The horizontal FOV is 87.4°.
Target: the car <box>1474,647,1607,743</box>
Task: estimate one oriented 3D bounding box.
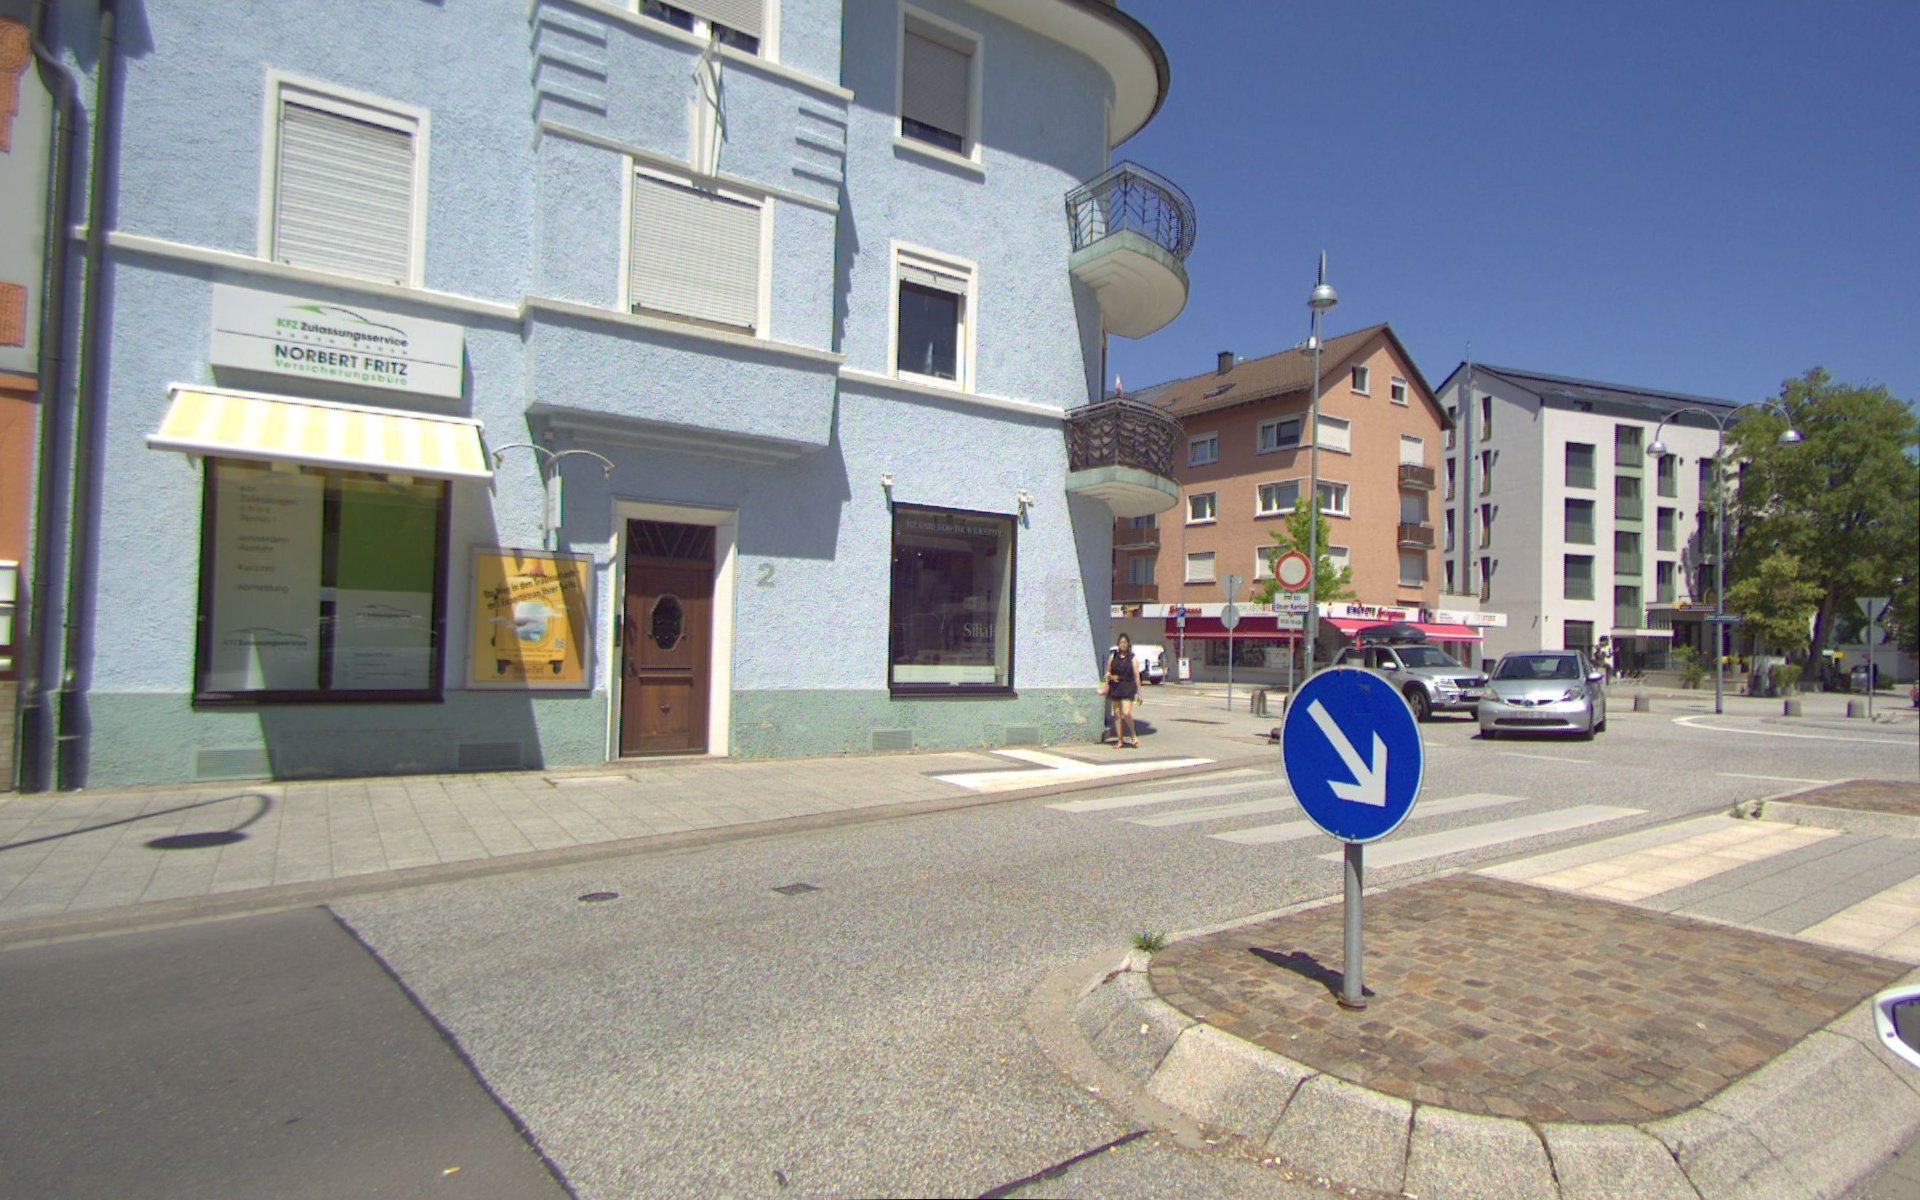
[{"bbox_3d":[10.008,1.562,17.210,1.555,1.469,3.458,-3,-4,36],"label":"car"}]

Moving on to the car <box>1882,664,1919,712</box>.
[{"bbox_3d":[33.317,3.010,34.406,3.965,1.529,1.978,3,-3,-38],"label":"car"}]

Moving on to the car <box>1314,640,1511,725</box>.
[{"bbox_3d":[10.114,1.823,22.853,1.807,1.710,4.191,0,-3,-15],"label":"car"}]

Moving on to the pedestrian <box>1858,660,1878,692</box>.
[{"bbox_3d":[45.517,3.797,50.367,0.553,1.596,0.534,2,-2,-19],"label":"pedestrian"}]

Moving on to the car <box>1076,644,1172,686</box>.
[{"bbox_3d":[7.319,2.858,44.945,3.946,1.772,1.791,-2,-4,44],"label":"car"}]

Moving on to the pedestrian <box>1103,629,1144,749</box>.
[{"bbox_3d":[2.250,1.211,13.787,0.535,1.606,0.515,0,-3,11],"label":"pedestrian"}]
